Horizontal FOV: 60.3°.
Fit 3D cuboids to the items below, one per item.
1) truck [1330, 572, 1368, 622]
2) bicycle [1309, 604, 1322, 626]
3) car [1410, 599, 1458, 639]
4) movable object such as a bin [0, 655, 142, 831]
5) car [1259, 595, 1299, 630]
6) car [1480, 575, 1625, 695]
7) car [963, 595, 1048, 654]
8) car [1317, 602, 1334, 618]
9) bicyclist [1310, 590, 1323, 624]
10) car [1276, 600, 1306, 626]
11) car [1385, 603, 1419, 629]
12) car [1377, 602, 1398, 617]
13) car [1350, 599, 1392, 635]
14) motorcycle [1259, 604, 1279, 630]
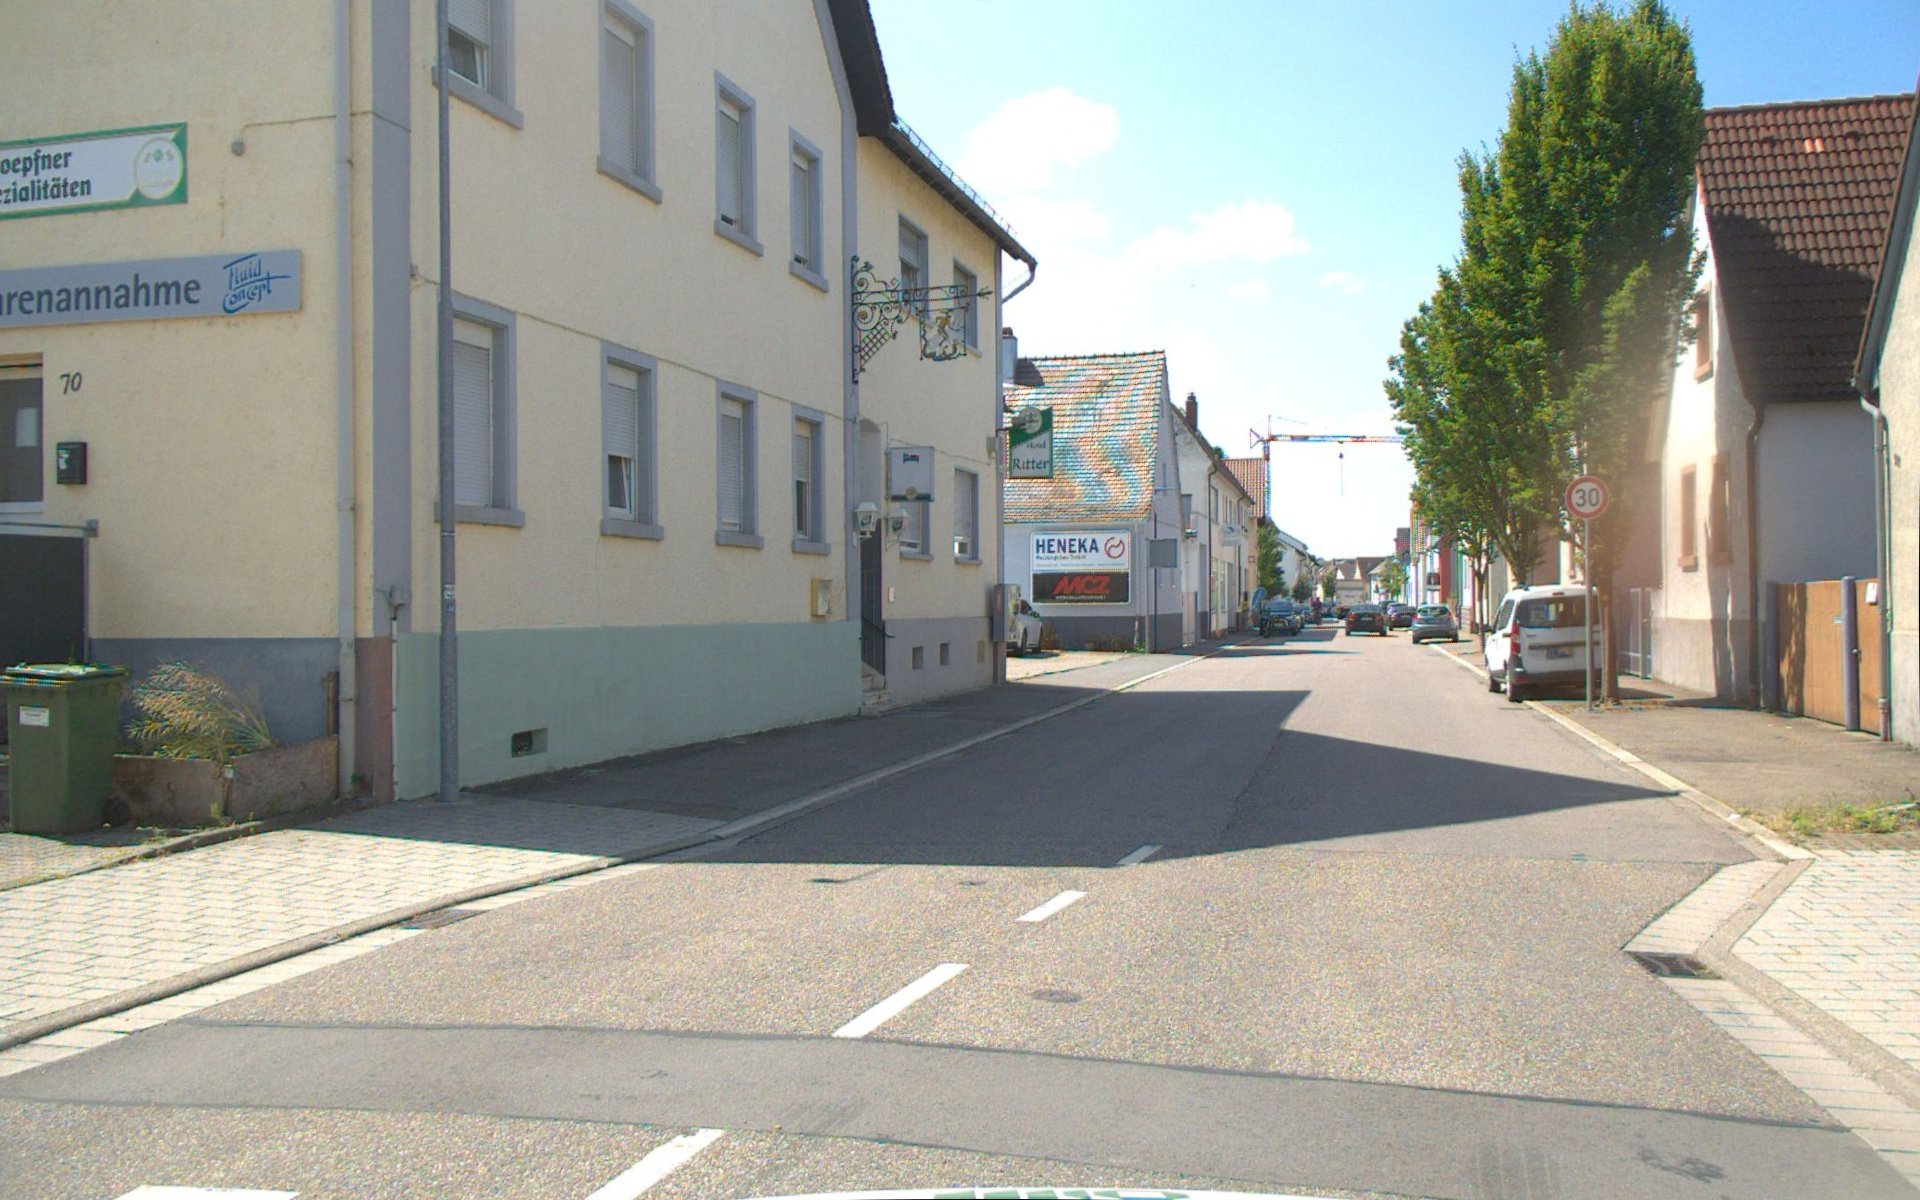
[{"bbox_3d":[35.345,-0.206,150.082,3.078,4.325,9.308,1,0,14],"label":"truck"},{"bbox_3d":[21.696,0.921,100.808,0.735,1.331,2.687,1,0,13],"label":"bicycle"},{"bbox_3d":[18.230,0.697,63.699,1.683,1.487,4.159,0,0,15],"label":"car"},{"bbox_3d":[-5.884,0.922,10.903,0.587,1.097,0.659,-1,0,16],"label":"movable object such as a bin"},{"bbox_3d":[15.277,0.585,79.187,1.770,1.617,4.003,0,0,13],"label":"car"},{"bbox_3d":[9.870,0.553,27.827,1.683,1.821,4.147,-2,0,12],"label":"car"},{"bbox_3d":[1.333,0.658,47.041,1.683,1.583,4.202,1,0,12],"label":"car"},{"bbox_3d":[37.940,1.046,171.676,1.770,1.617,4.003,0,0,13],"label":"car"},{"bbox_3d":[21.737,0.430,100.939,0.724,2.095,0.845,1,0,13],"label":"bicyclist"},{"bbox_3d":[20.808,0.780,103.855,1.770,1.617,4.003,0,0,13],"label":"car"},{"bbox_3d":[24.404,0.845,91.372,1.683,1.379,4.160,0,0,13],"label":"car"},{"bbox_3d":[35.974,0.789,139.246,1.683,1.291,4.160,0,0,13],"label":"car"},{"bbox_3d":[19.043,0.761,76.592,1.861,1.591,4.480,0,0,14],"label":"car"},{"bbox_3d":[14.113,0.773,75.498,0.828,1.190,2.471,1,0,12],"label":"motorcycle"}]
